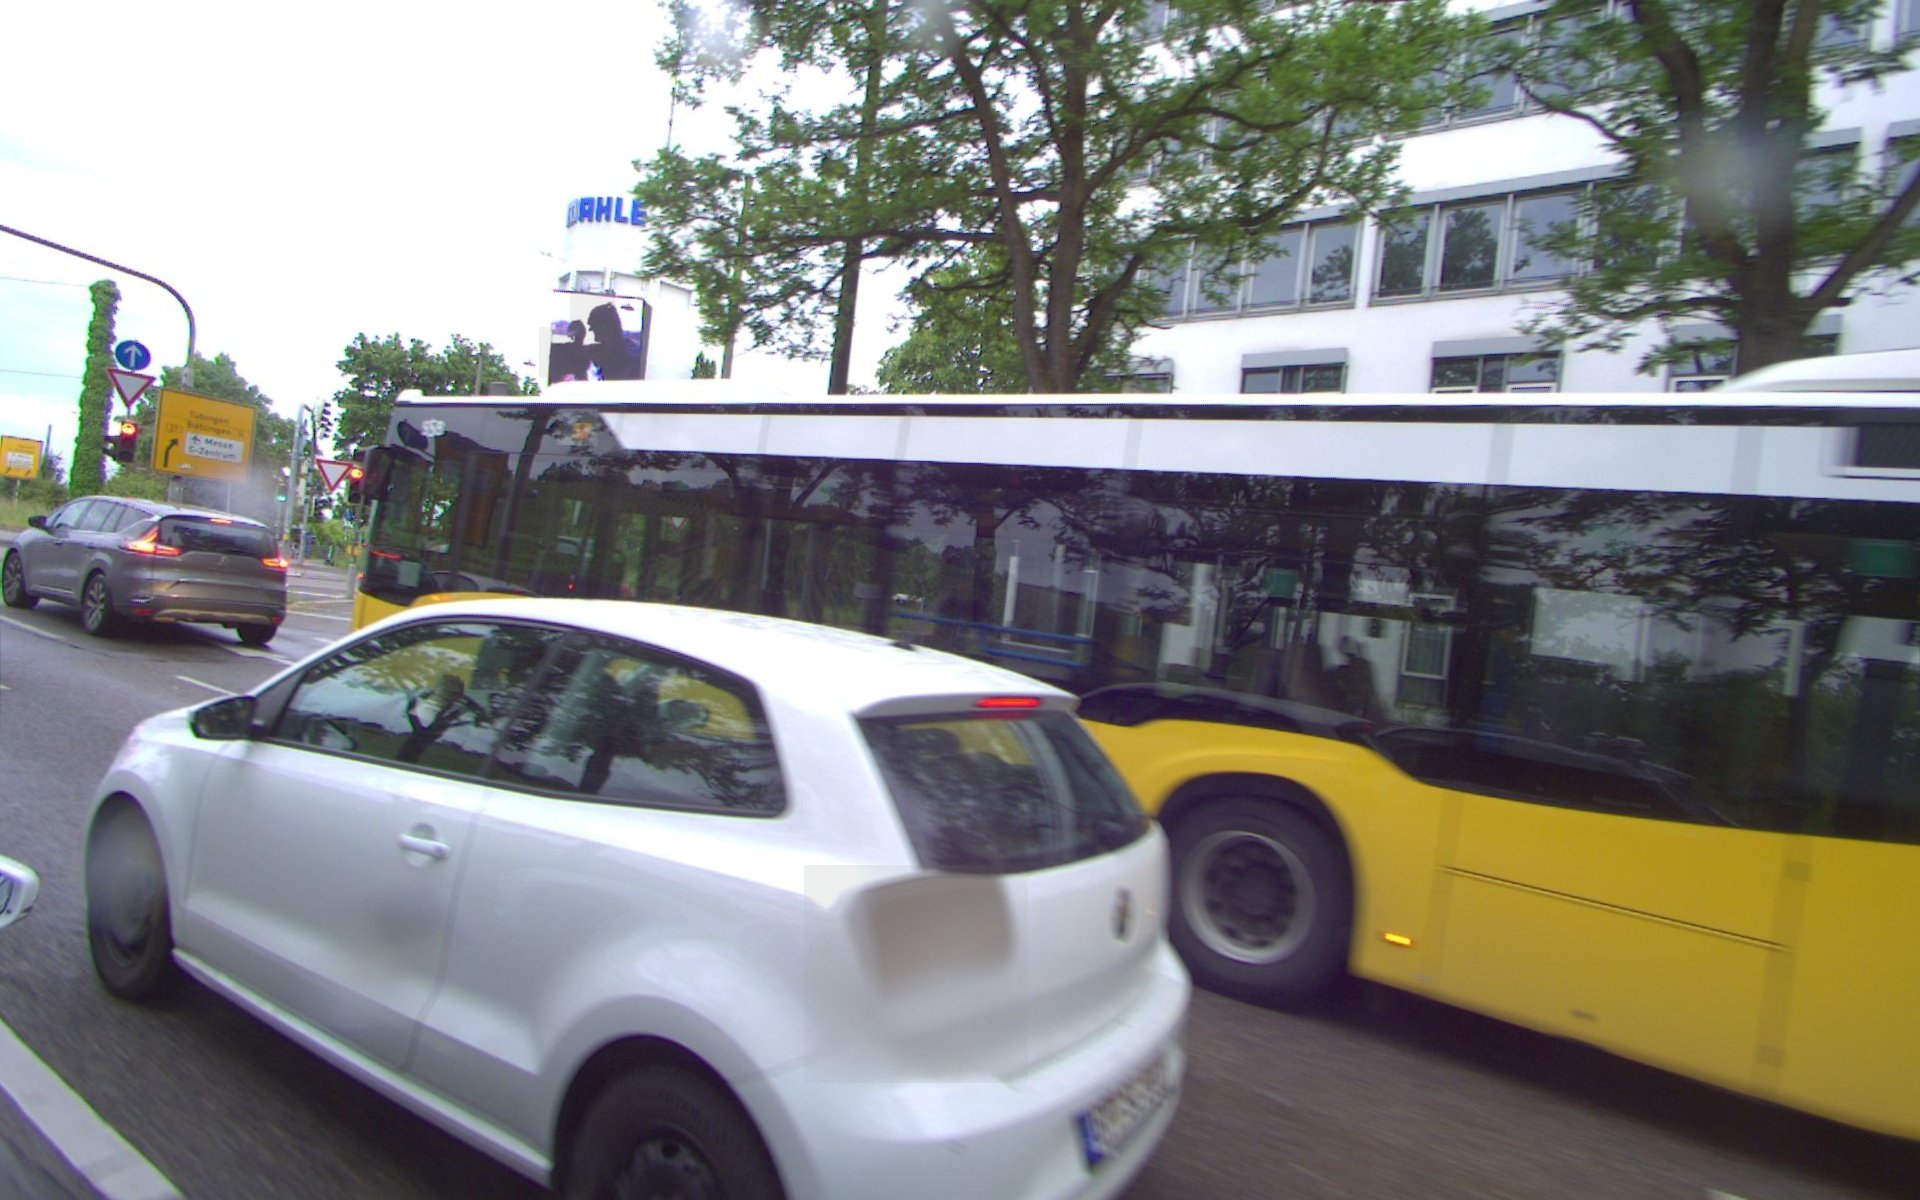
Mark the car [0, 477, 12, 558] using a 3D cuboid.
[{"bbox_3d":[-11.502,-0.666,10.036,4.046,1.613,1.888,6,-3,32],"label":"car"}]

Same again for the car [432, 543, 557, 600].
[{"bbox_3d":[-17.851,-1.048,38.635,4.025,1.586,1.855,8,-3,-34],"label":"car"}]

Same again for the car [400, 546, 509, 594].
[{"bbox_3d":[-23.257,-1.362,46.368,4.110,1.582,1.853,9,-2,-37],"label":"car"}]

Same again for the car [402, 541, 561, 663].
[{"bbox_3d":[-7.408,-0.001,15.478,1.848,1.516,4.124,5,-1,-28],"label":"car"}]

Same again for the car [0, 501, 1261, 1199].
[{"bbox_3d":[-1.205,0.647,3.249,3.748,1.448,1.745,6,-3,31],"label":"car"}]

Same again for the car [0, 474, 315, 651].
[{"bbox_3d":[-10.732,-0.522,13.240,4.489,1.694,1.868,8,-1,31],"label":"car"}]

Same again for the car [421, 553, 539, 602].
[{"bbox_3d":[-20.935,-0.963,43.909,4.341,1.537,1.714,8,-2,-35],"label":"car"}]

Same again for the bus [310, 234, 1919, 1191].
[{"bbox_3d":[0.042,-0.011,7.051,11.946,3.188,2.732,7,-2,33],"label":"bus"}]

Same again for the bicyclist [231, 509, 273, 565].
[{"bbox_3d":[-22.165,-1.971,31.525,0.803,1.602,1.015,8,-2,-30],"label":"bicyclist"}]

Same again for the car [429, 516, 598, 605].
[{"bbox_3d":[-18.489,-1.564,41.776,5.969,2.772,2.065,8,-3,-32],"label":"car"}]
